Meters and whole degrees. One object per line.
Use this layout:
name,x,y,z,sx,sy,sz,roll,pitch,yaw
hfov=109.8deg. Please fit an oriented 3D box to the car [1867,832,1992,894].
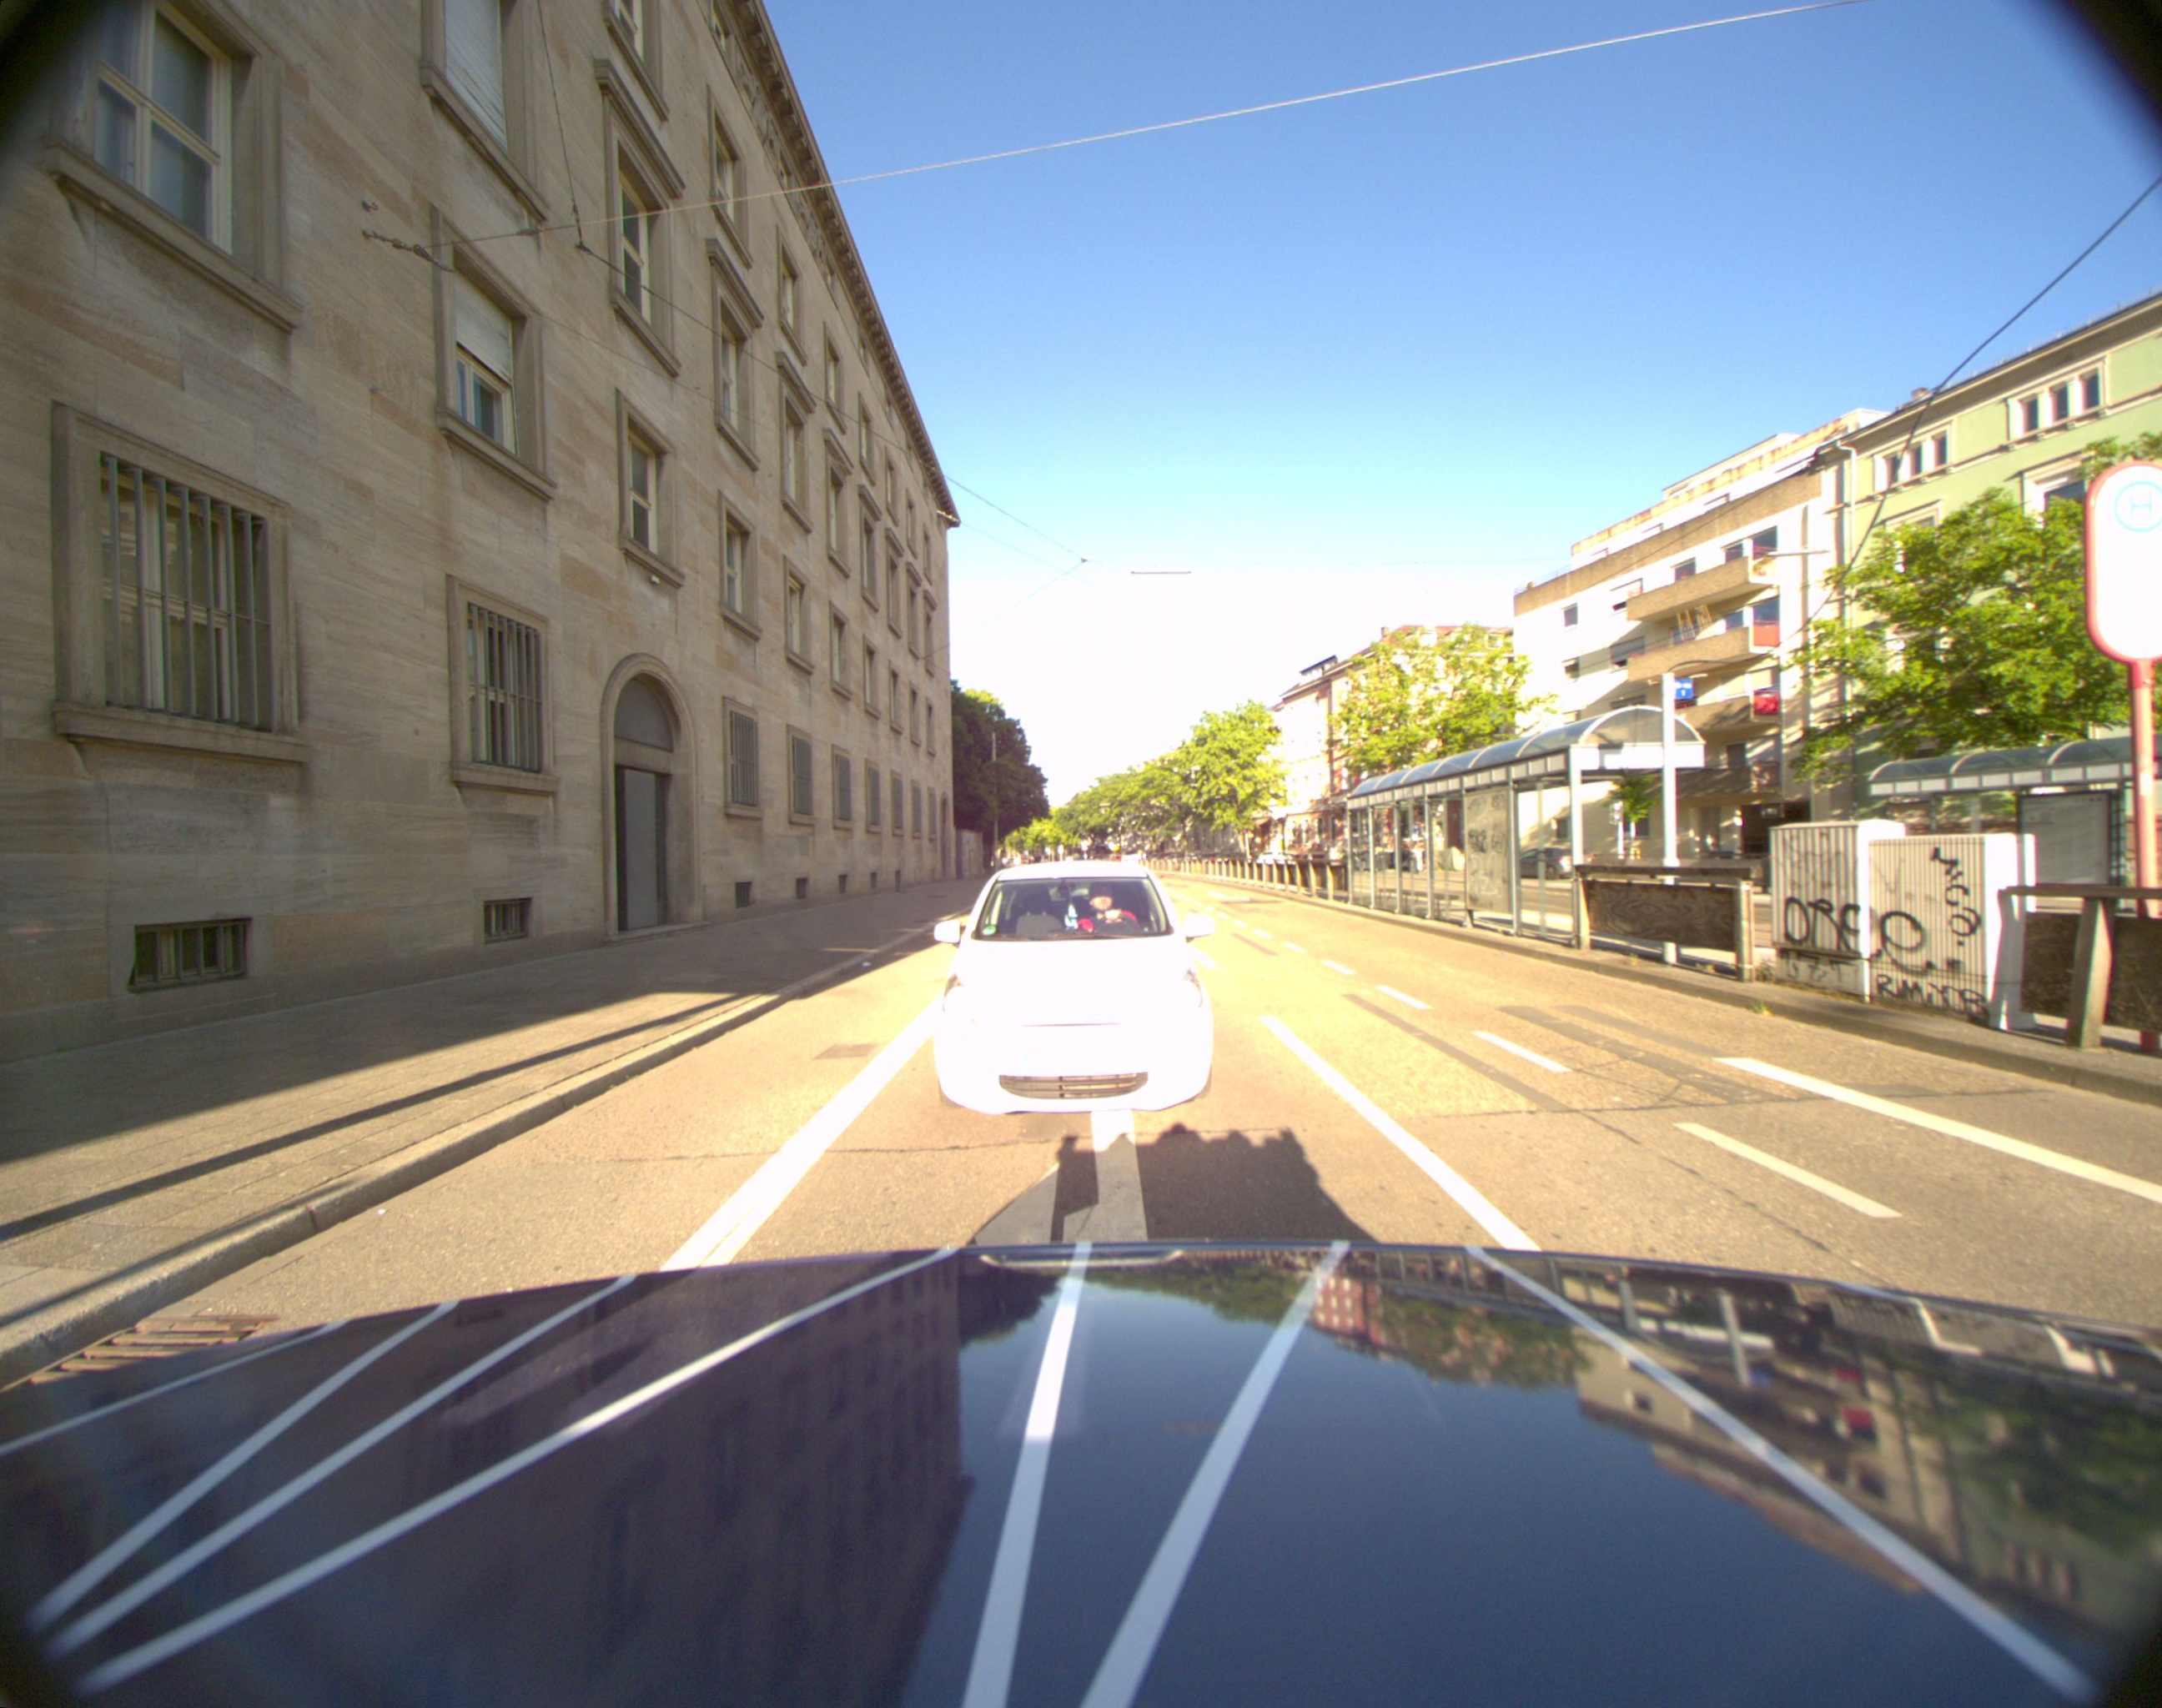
car,24.461,0.231,21.890,3.605,1.558,1.627,-3,1,-29

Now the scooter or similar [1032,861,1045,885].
scooter or similar,-2.120,0.933,37.942,0.536,1.178,1.328,-1,0,0

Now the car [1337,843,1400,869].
car,19.542,0.124,51.723,3.599,1.558,1.630,-2,1,-7

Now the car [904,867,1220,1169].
car,-0.076,0.899,5.809,1.612,1.462,3.631,-2,0,1

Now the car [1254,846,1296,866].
car,16.256,0.154,63.477,3.607,1.558,1.627,-3,1,-42

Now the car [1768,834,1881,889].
car,23.882,0.225,24.403,3.605,1.558,1.627,-3,1,-29

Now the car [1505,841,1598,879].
car,20.913,0.231,33.933,1.631,1.558,3.598,-2,1,-5

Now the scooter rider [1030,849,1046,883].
scooter rider,-2.127,0.608,37.996,0.731,1.661,0.556,-1,1,0
